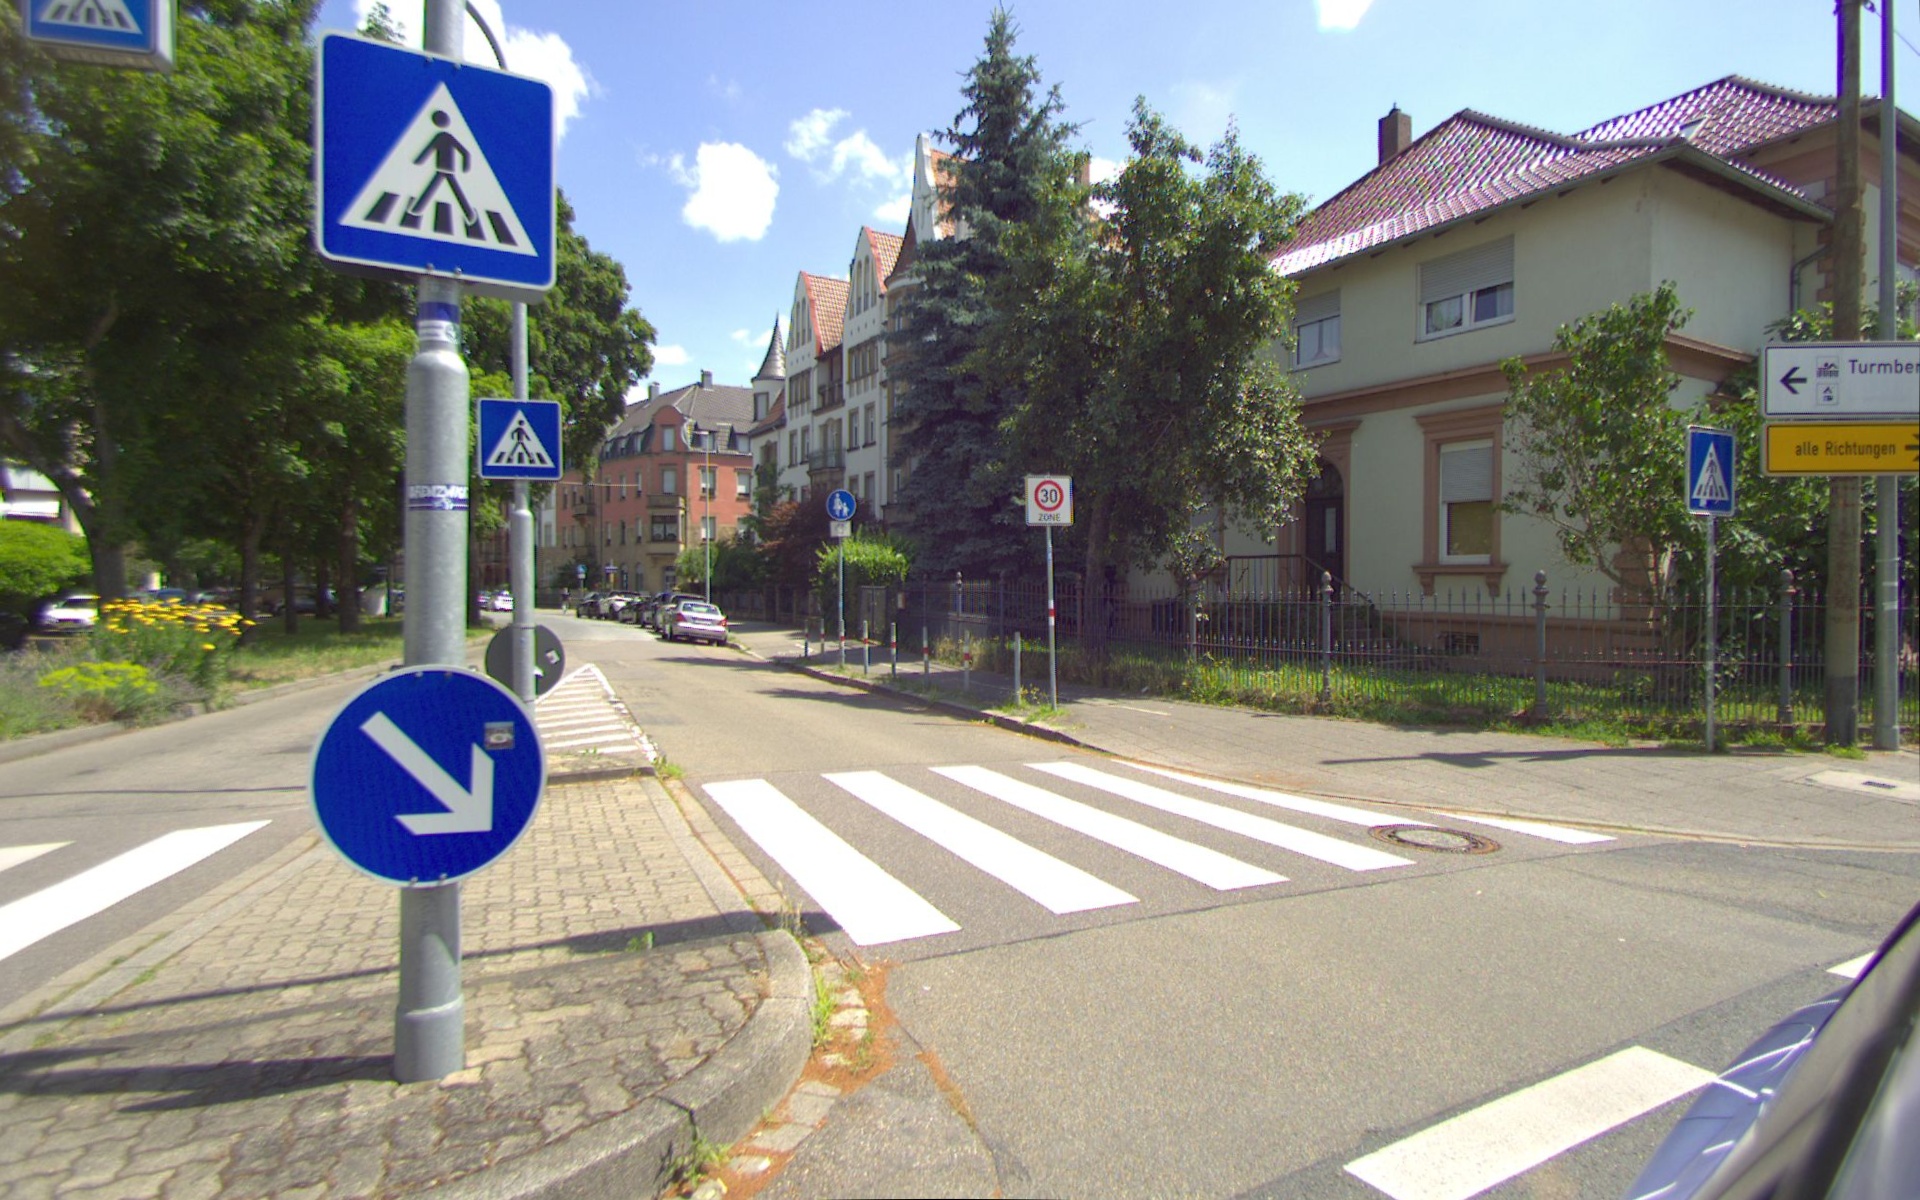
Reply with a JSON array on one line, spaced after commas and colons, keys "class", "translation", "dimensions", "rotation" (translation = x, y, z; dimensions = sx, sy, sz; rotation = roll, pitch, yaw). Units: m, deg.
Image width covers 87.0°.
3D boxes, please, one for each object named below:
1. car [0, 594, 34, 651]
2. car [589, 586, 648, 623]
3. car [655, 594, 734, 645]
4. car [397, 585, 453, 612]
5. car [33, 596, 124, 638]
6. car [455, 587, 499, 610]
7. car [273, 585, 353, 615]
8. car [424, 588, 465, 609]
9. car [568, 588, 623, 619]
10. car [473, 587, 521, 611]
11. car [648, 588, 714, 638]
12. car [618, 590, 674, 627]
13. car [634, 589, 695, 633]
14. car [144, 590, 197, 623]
[{"class": "car", "translation": [-26.149, 0.608, 26.548], "dimensions": [1.803, 1.475, 4.005], "rotation": [-1, 1, -29]}, {"class": "car", "translation": [-17.258, 0.202, 51.061], "dimensions": [1.740, 1.634, 3.877], "rotation": [6, -1, -34]}, {"class": "car", "translation": [-8.328, 0.571, 31.495], "dimensions": [1.780, 1.343, 4.007], "rotation": [5, -2, -22]}, {"class": "car", "translation": [-33.994, -0.129, 64.260], "dimensions": [1.968, 1.638, 4.173], "rotation": [-1, 1, -45]}, {"class": "car", "translation": [-32.476, 0.580, 37.403], "dimensions": [1.803, 1.455, 4.004], "rotation": [-1, 1, -30]}, {"class": "car", "translation": [-36.018, -0.128, 75.423], "dimensions": [1.966, 1.638, 4.178], "rotation": [-1, 1, -41]}, {"class": "car", "translation": [-41.747, -0.019, 65.375], "dimensions": [3.917, 1.883, 1.928], "rotation": [-1, 1, -11]}, {"class": "car", "translation": [-41.910, -0.167, 82.222], "dimensions": [1.966, 1.638, 4.178], "rotation": [-1, 1, -41]}, {"class": "car", "translation": [-19.779, 0.194, 54.787], "dimensions": [1.740, 1.408, 3.876], "rotation": [6, -1, -35]}, {"class": "car", "translation": [-32.937, -0.104, 71.928], "dimensions": [1.966, 1.638, 4.178], "rotation": [-1, 1, -41]}, {"class": "car", "translation": [-10.072, 0.419, 36.369], "dimensions": [1.737, 1.535, 4.008], "rotation": [5, -1, -22]}, {"class": "car", "translation": [-14.337, 0.369, 46.053], "dimensions": [1.738, 1.406, 4.007], "rotation": [6, -1, -26]}, {"class": "car", "translation": [-12.042, 0.407, 41.103], "dimensions": [1.737, 1.535, 4.007], "rotation": [5, -1, -24]}, {"class": "car", "translation": [-43.783, 0.309, 56.208], "dimensions": [1.803, 1.756, 4.004], "rotation": [-1, 1, -30]}]
